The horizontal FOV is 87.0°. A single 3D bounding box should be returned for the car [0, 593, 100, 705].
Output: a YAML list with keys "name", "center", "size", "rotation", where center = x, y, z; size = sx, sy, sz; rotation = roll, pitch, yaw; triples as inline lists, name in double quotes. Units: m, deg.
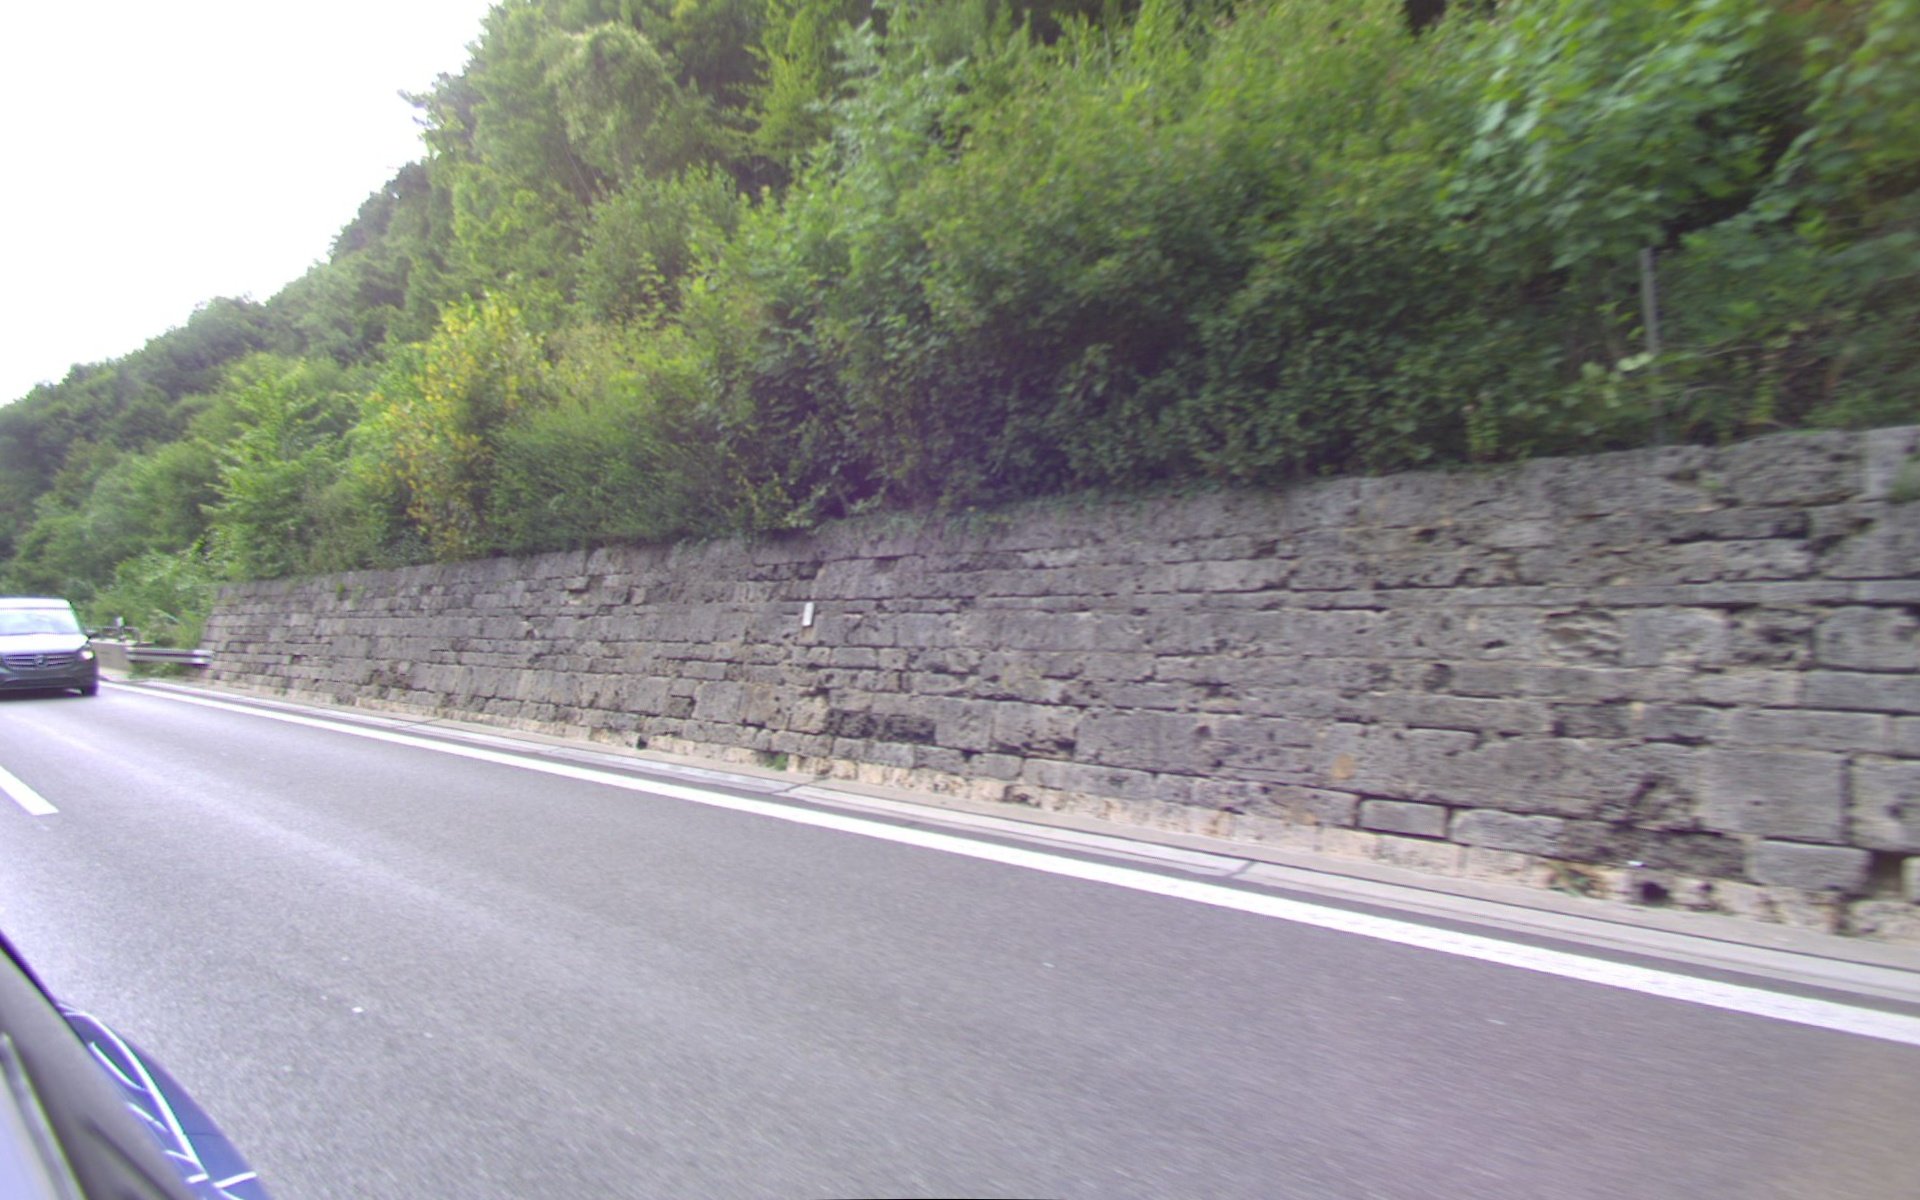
- name: "car"
  center: [-19.434, 0.970, 20.803]
  size: [5.539, 2.029, 1.972]
  rotation: [-2, 0, 43]

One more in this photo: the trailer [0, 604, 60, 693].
- name: "trailer"
  center: [-22.742, 1.135, 23.838]
  size: [3.430, 1.954, 1.950]
  rotation: [-2, 0, 43]
